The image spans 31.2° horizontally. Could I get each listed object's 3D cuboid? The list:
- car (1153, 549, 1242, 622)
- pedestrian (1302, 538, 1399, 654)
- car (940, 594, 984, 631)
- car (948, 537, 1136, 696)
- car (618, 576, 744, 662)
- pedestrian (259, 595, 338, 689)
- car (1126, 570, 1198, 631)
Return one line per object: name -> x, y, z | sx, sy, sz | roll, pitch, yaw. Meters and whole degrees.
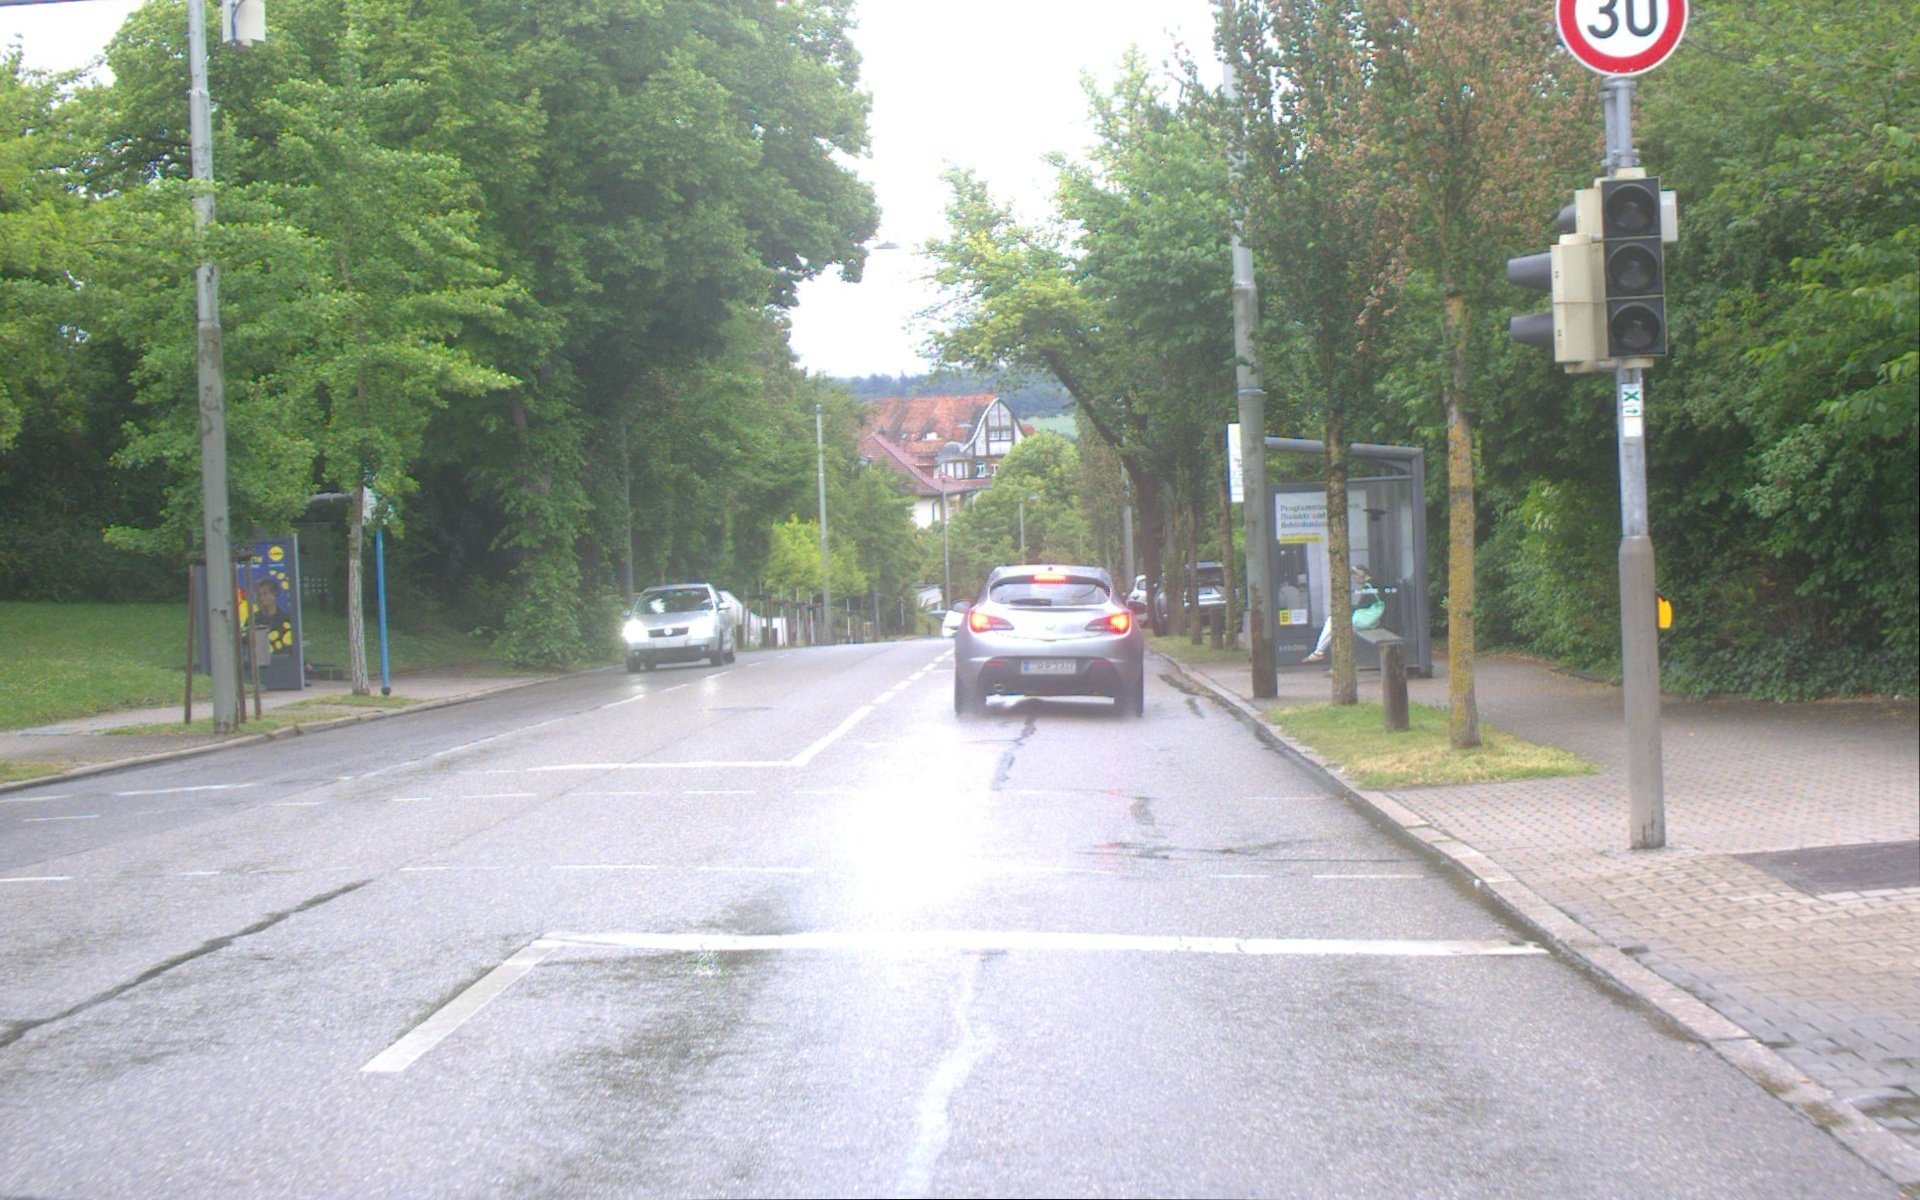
car -> 5.127, -0.328, 74.542 | 1.721, 1.459, 4.000 | -3, 1, 2
pedestrian -> 4.741, -0.055, 41.711 | 1.074, 1.351, 0.918 | -3, 0, 9
car -> 0.099, 0.530, 148.990 | 1.721, 1.459, 4.000 | 2, 1, 2
car -> 0.815, 0.117, 34.351 | 1.754, 1.459, 4.000 | 1, 1, 1
car -> -4.781, 0.306, 59.372 | 1.721, 1.394, 4.000 | 1, 1, 2
pedestrian -> -10.213, 0.638, 53.103 | 0.938, 1.399, 0.918 | 1, 1, 9
car -> 5.253, -0.002, 89.710 | 1.721, 1.459, 4.000 | -3, 1, 2
